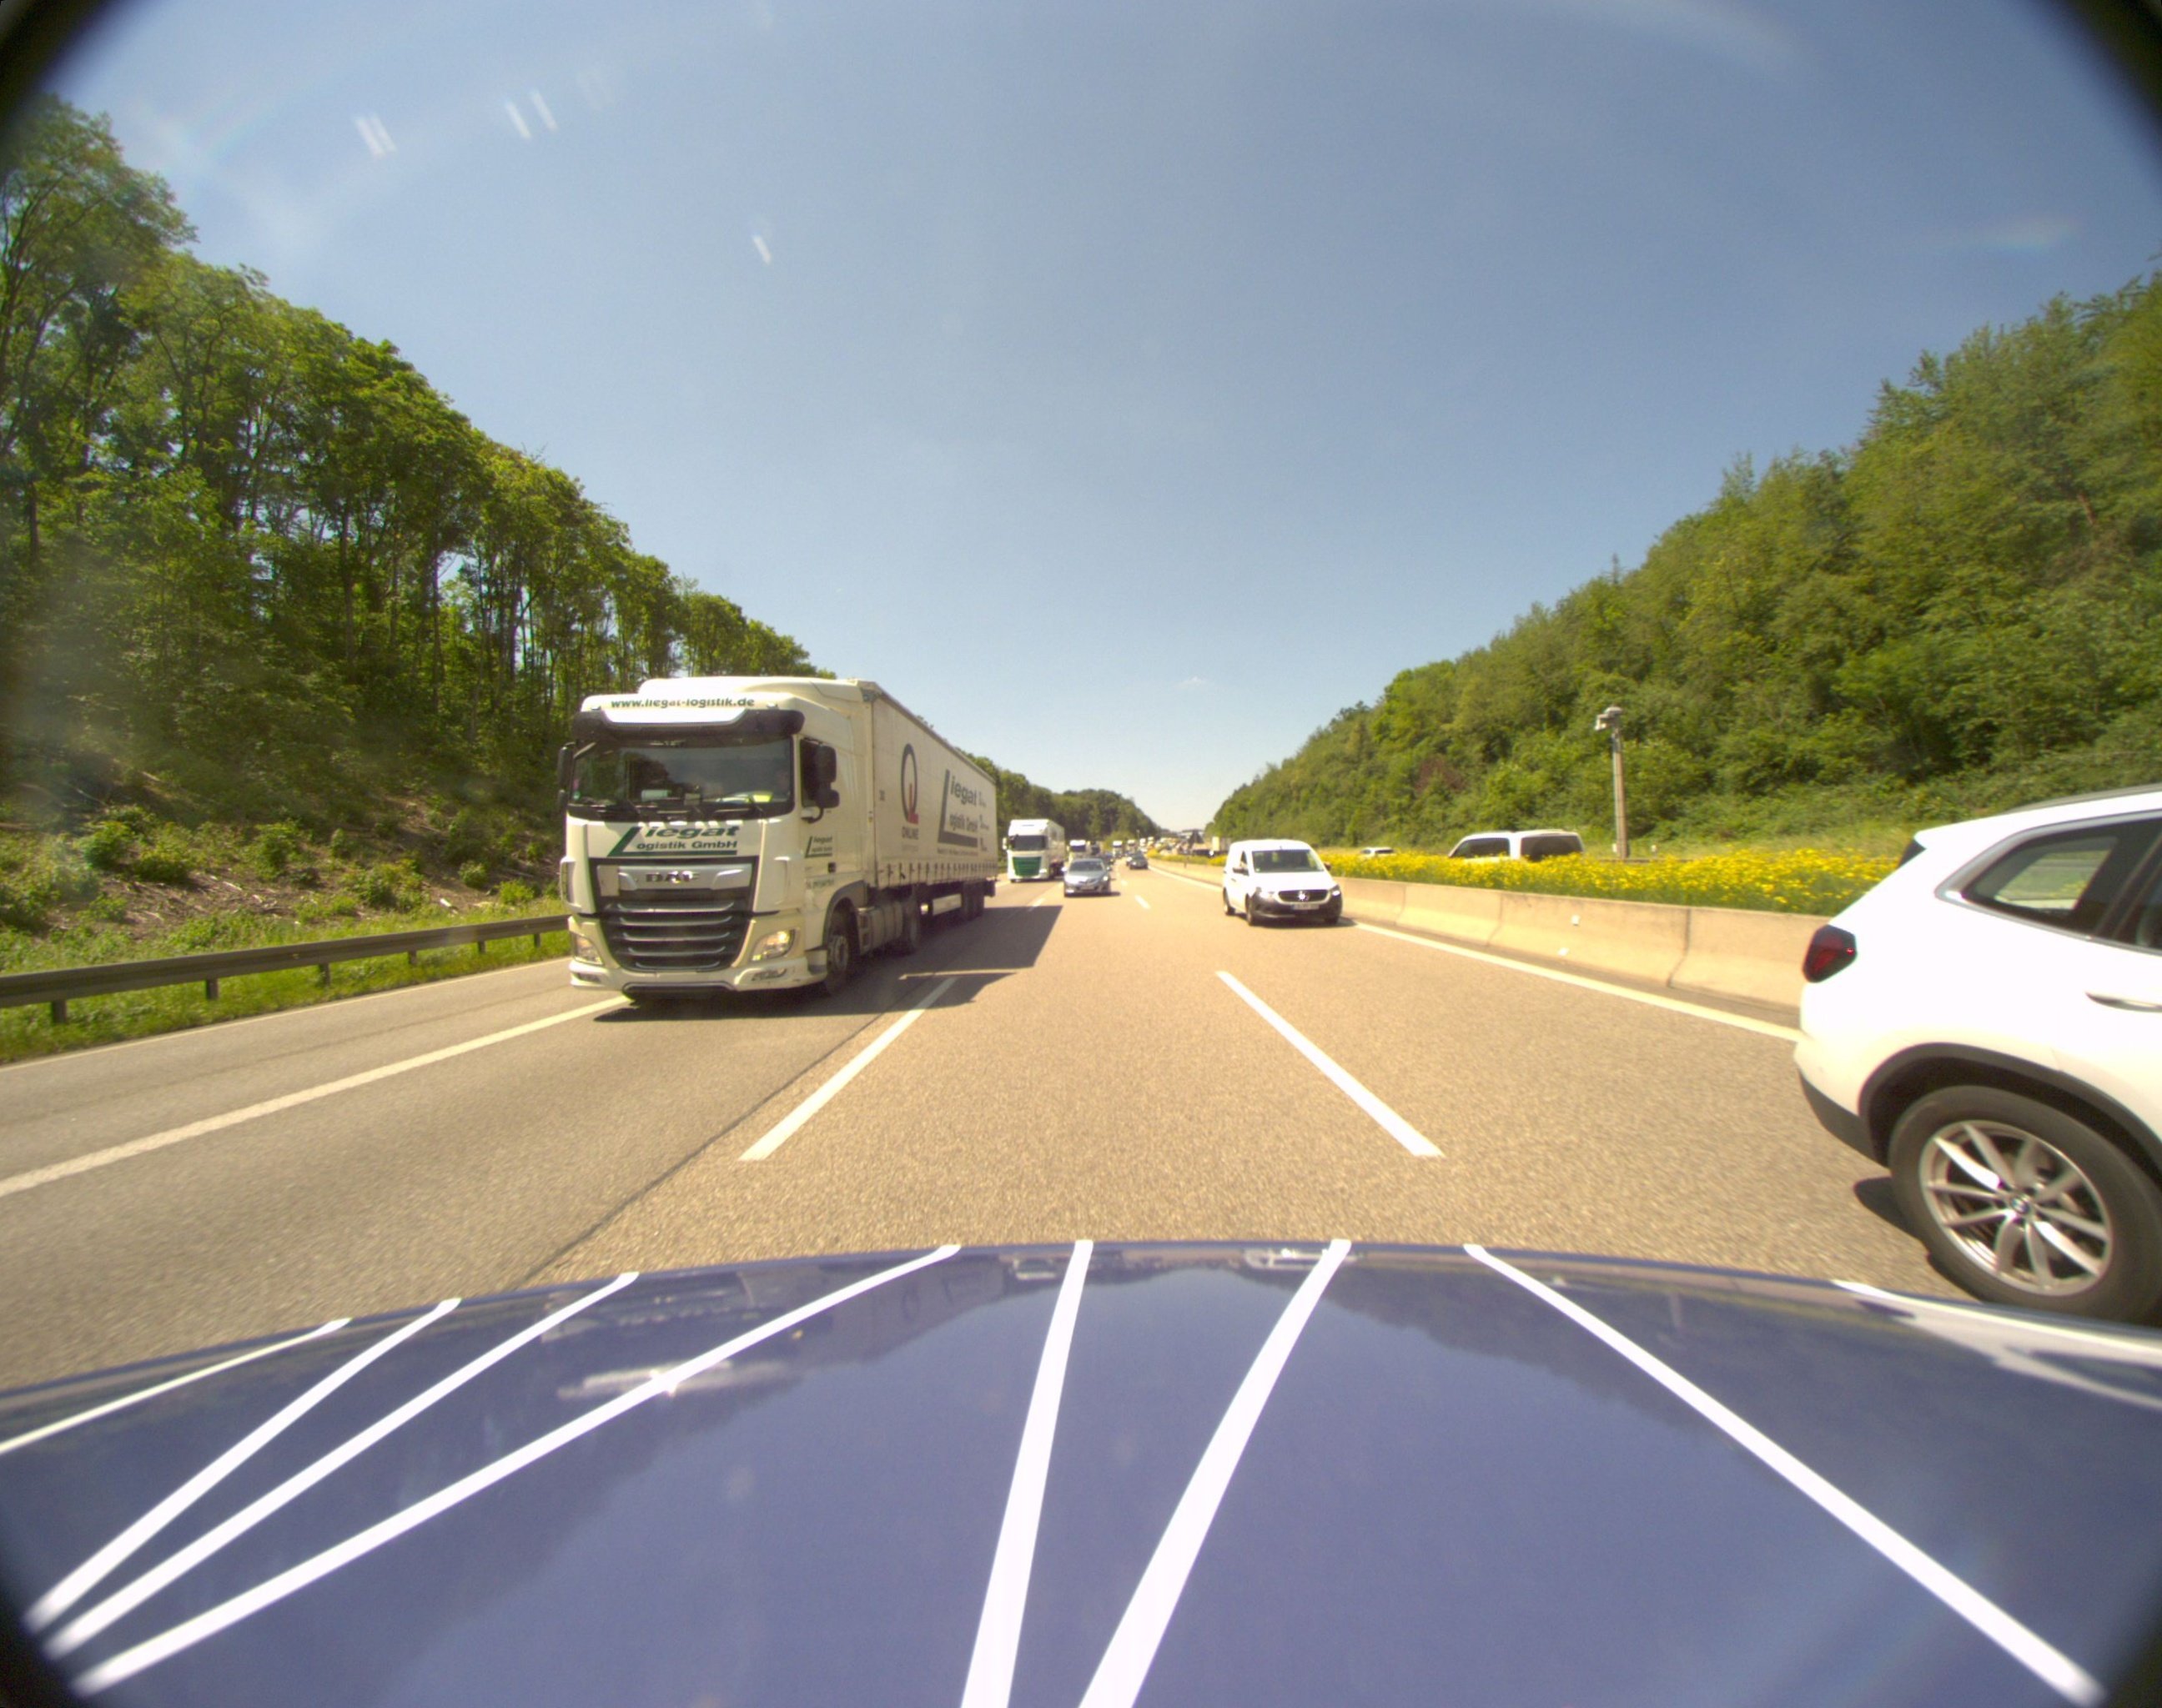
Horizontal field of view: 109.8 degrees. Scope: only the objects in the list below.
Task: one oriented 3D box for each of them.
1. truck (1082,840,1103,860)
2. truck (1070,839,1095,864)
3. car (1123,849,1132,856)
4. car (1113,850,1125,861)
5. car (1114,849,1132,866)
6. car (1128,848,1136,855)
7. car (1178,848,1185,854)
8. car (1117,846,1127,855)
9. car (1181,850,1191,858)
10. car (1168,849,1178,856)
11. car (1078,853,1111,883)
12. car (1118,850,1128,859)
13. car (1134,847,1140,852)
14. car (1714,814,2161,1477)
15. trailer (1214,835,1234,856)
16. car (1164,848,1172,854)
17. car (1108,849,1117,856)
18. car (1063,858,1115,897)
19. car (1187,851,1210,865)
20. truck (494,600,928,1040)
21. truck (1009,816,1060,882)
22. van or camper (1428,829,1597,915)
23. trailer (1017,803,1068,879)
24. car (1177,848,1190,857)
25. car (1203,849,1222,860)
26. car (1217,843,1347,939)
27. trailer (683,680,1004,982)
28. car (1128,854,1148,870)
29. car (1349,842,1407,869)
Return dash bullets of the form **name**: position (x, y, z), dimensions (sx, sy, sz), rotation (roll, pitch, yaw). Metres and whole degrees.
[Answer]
- **truck**: position (2.303, -0.880, 149.785), dimensions (3.557, 3.695, 7.552), rotation (-2, 1, 4)
- **truck**: position (0.283, -0.403, 111.370), dimensions (3.262, 3.337, 6.863), rotation (-2, 1, 3)
- **car**: position (11.865, -0.442, 194.525), dimensions (1.997, 1.728, 4.001), rotation (-2, 1, 6)
- **car**: position (6.600, 0.195, 132.432), dimensions (1.998, 1.728, 4.000), rotation (-2, 1, 4)
- **car**: position (5.272, 0.445, 95.852), dimensions (1.999, 2.002, 3.999), rotation (-2, 1, -1)
- **car**: position (14.887, -0.762, 221.845), dimensions (1.997, 1.728, 4.001), rotation (-2, 1, 6)
- **car**: position (30.033, -0.878, 227.105), dimensions (1.953, 1.632, 3.981), rotation (-2, 0, 3)
- **car**: position (12.540, -1.035, 234.625), dimensions (2.697, 2.467, 6.586), rotation (-2, 1, 6)
- **car**: position (24.644, -0.022, 178.899), dimensions (1.998, 1.563, 4.000), rotation (-2, 1, 2)
- **car**: position (19.883, -0.306, 164.144), dimensions (1.998, 1.477, 4.000), rotation (-2, 1, 4)
- **car**: position (0.888, 0.852, 47.666), dimensions (1.887, 1.695, 4.085), rotation (-2, 0, 2)
- **car**: position (9.195, 0.070, 164.831), dimensions (1.998, 1.728, 4.000), rotation (-2, 1, 4)
- **car**: position (18.956, -1.633, 257.741), dimensions (1.997, 1.728, 4.001), rotation (-2, 1, 6)
- **car**: position (3.653, 0.715, 0.777), dimensions (1.869, 1.684, 4.956), rotation (-2, 0, 0)
- **trailer**: position (30.596, -1.855, 163.012), dimensions (2.721, 4.183, 13.934), rotation (-2, 1, 4)
- **car**: position (25.187, -0.869, 220.498), dimensions (1.998, 1.668, 4.081), rotation (-2, 0, 3)
- **car**: position (8.309, -0.425, 198.996), dimensions (1.997, 1.728, 4.001), rotation (-2, 1, 6)
- **car**: position (0.407, 0.914, 31.341), dimensions (1.887, 1.458, 4.248), rotation (-2, 0, 3)
- **car**: position (13.282, 0.426, 86.053), dimensions (1.998, 1.464, 4.874), rotation (-2, 1, 3)
- **truck**: position (-4.197, -0.290, 10.324), dimensions (2.792, 4.180, 5.870), rotation (-2, 0, 1)
- **truck**: position (-2.973, -0.349, 50.091), dimensions (2.541, 4.006, 6.625), rotation (-2, 1, 3)
- **van or camper**: position (11.278, 0.392, 20.307), dimensions (1.887, 2.002, 4.587), rotation (-2, 1, 0)
- **trailer**: position (-2.731, -0.987, 58.564), dimensions (2.574, 5.011, 15.271), rotation (-2, 1, 2)
- **car**: position (17.407, -0.306, 129.183), dimensions (1.998, 1.477, 4.000), rotation (-2, 1, 4)
- **car**: position (18.081, 0.036, 104.345), dimensions (1.998, 1.477, 4.000), rotation (-2, 1, 2)
- **car**: position (4.283, 0.714, 16.963), dimensions (1.769, 1.802, 4.674), rotation (-2, 0, 2)
- **trailer**: position (-4.032, -0.249, 17.378), dimensions (2.792, 4.180, 13.245), rotation (-2, -1, 1)
- **car**: position (5.654, 0.803, 75.446), dimensions (1.720, 1.470, 4.000), rotation (-2, 0, 2)
- **car**: position (19.270, 0.100, 49.494), dimensions (1.998, 1.607, 4.484), rotation (-2, 0, 0)
